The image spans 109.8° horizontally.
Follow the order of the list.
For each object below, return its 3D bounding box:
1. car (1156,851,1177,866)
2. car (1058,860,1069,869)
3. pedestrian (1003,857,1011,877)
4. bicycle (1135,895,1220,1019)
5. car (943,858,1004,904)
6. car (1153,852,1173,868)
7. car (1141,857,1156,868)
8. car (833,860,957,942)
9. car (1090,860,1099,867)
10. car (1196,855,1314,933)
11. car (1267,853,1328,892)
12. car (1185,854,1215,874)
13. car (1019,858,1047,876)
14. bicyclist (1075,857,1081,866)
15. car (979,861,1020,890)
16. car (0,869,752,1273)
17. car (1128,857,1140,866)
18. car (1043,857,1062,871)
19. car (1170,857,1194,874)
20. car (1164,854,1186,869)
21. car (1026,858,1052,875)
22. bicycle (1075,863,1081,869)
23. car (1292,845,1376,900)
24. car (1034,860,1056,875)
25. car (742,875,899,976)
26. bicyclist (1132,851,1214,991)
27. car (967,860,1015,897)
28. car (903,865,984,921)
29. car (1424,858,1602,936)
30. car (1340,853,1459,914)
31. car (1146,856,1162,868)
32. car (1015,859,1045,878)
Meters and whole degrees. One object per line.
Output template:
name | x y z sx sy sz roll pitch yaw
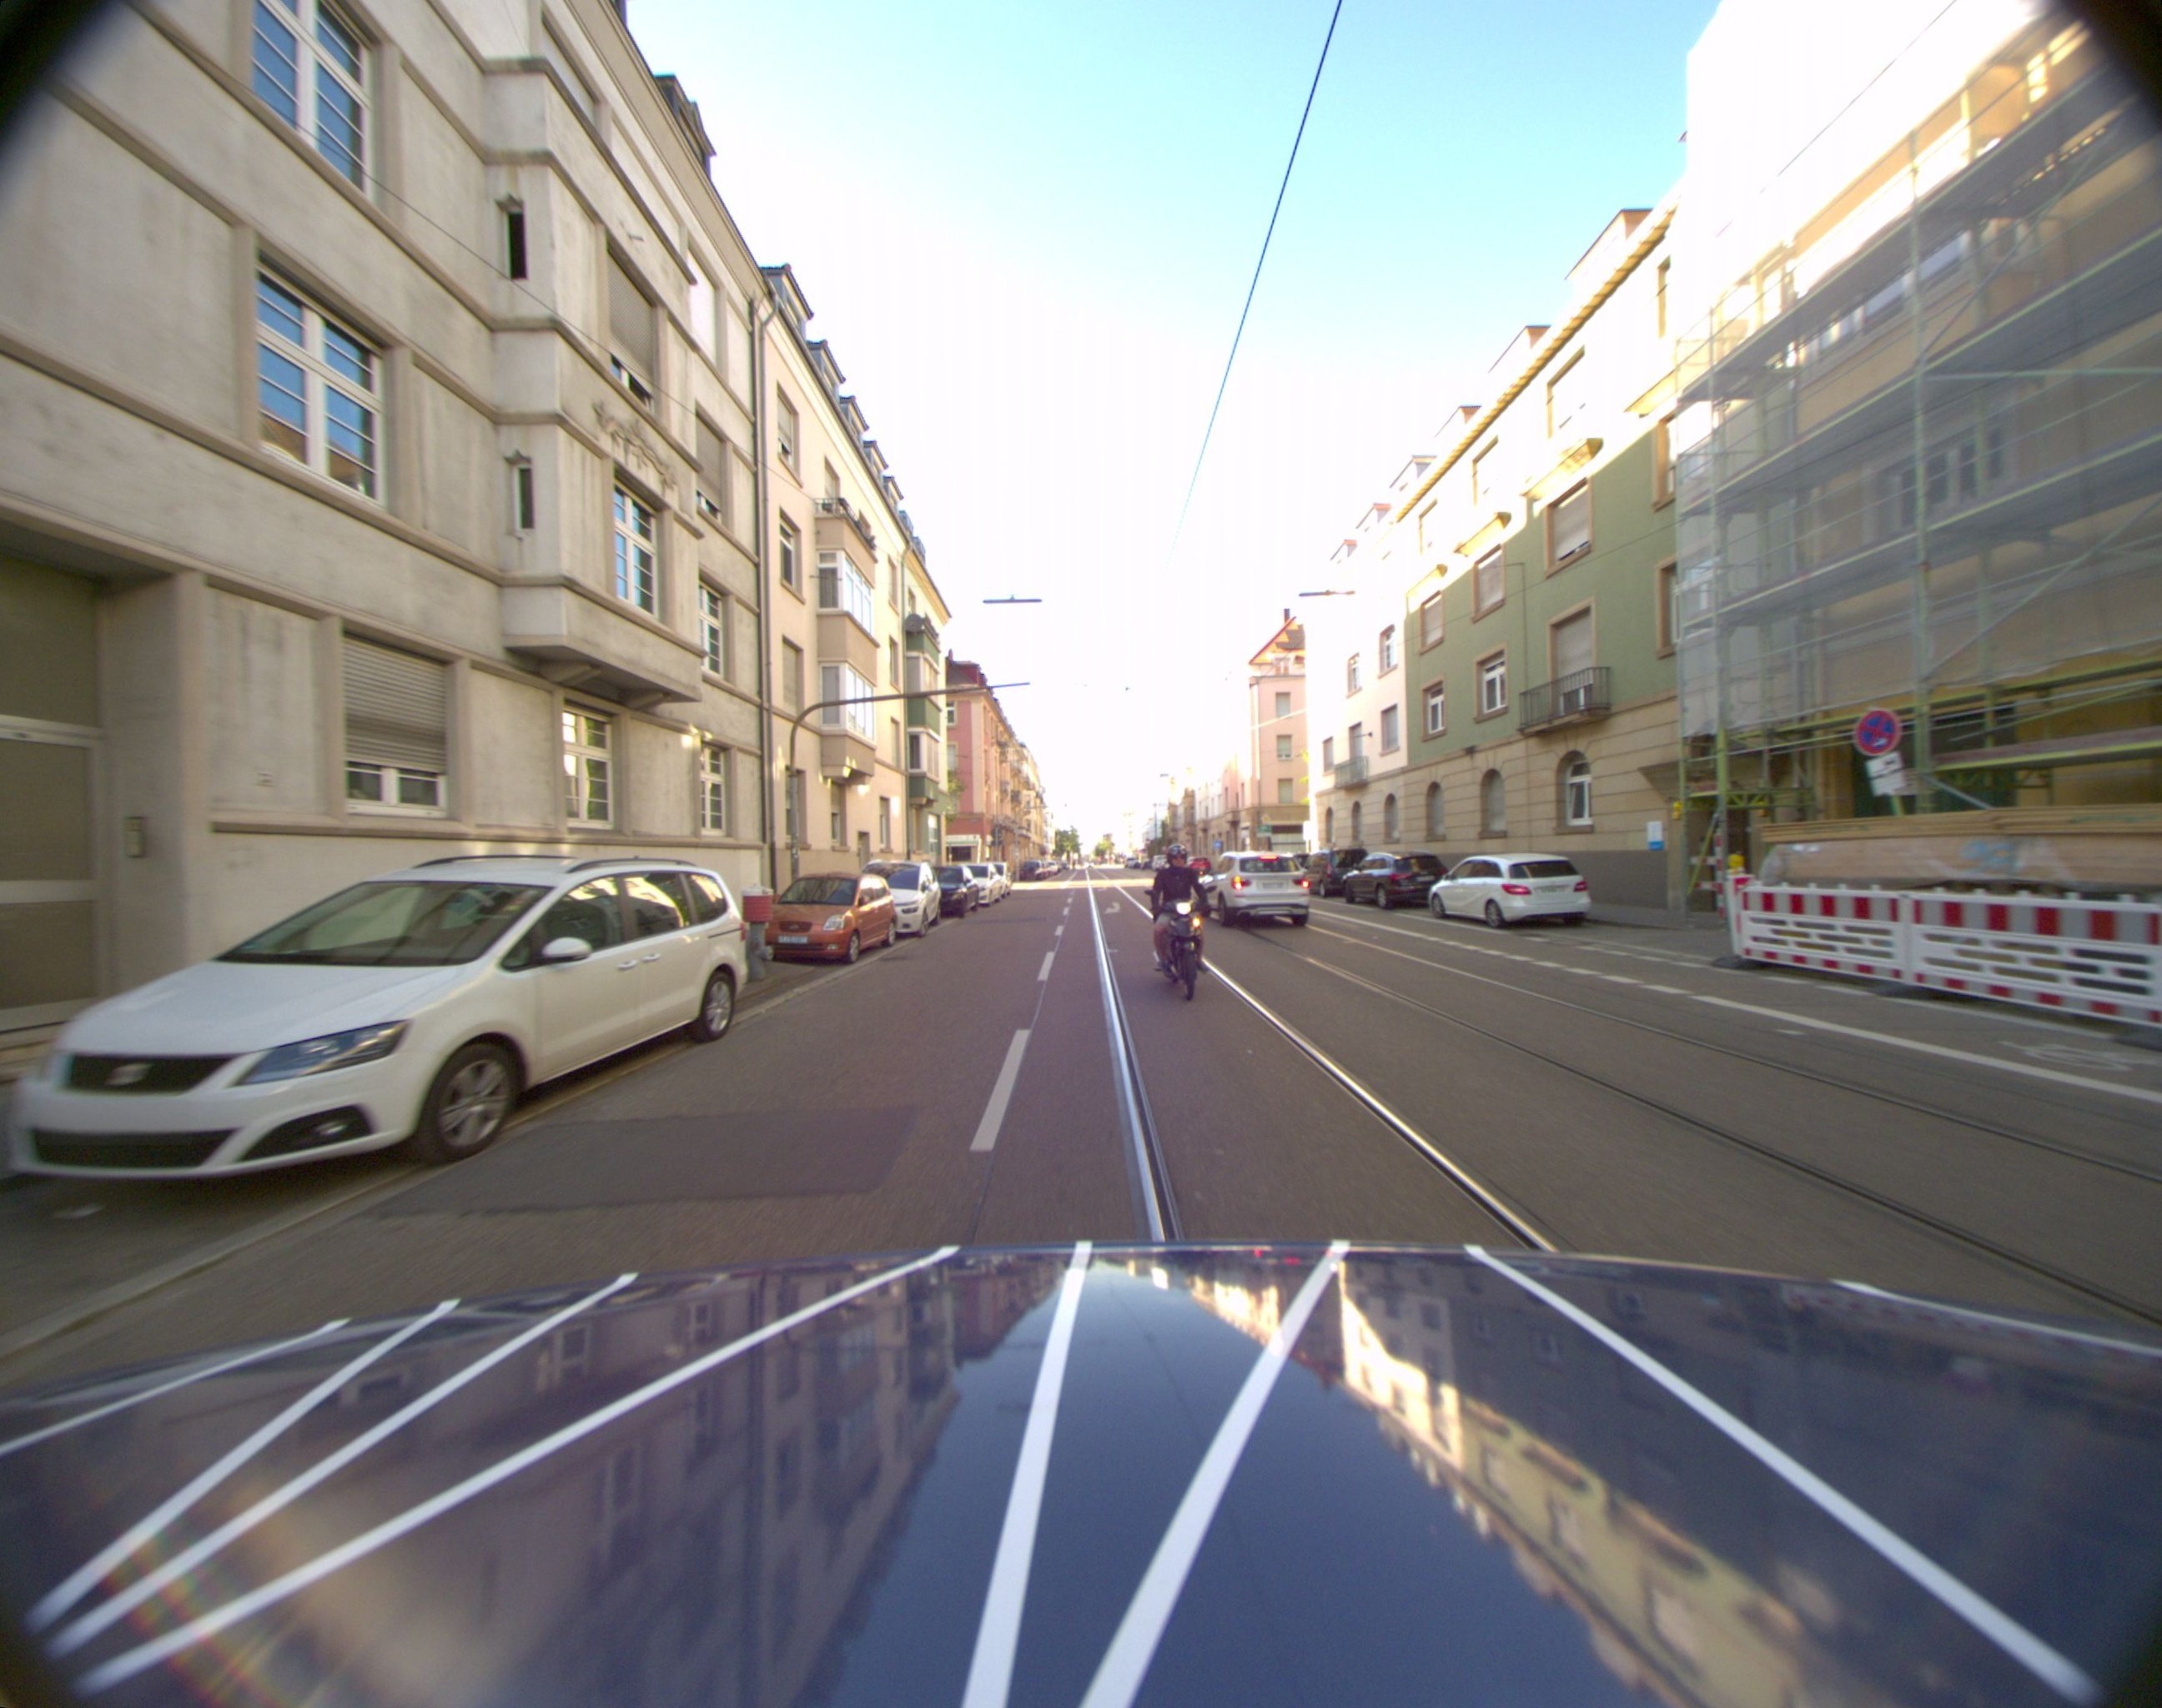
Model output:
car | 9.534 0.500 85.026 1.798 1.494 3.769 -3 0 0
car | -3.389 2.013 146.778 1.998 1.674 4.000 -1 0 1
pedestrian | -5.619 0.960 57.560 0.526 1.483 0.491 -1 0 1
bicycle | 1.071 1.124 8.865 0.740 1.170 1.974 -1 0 1
car | -3.984 0.959 28.727 1.703 1.581 3.961 -1 0 1
car | 10.199 0.760 94.902 1.998 2.002 4.000 -1 0 0
car | 10.064 1.191 113.421 1.798 1.494 3.769 -3 0 -1
car | -4.214 0.998 17.942 1.702 1.688 4.189 0 0 3
car | 3.055 2.227 176.109 1.998 1.586 4.000 -1 0 1
car | 3.927 0.825 17.899 1.772 1.598 4.293 -1 0 0
car | 9.550 0.786 33.811 1.798 1.601 3.770 -1 0 3
car | 10.032 0.838 64.358 1.798 1.494 3.769 -3 0 -1
car | -4.012 1.093 63.657 1.998 1.412 3.727 -1 0 1
bicyclist | -0.466 1.136 116.079 0.744 1.481 0.816 -1 0 1
car | -4.332 1.115 40.910 1.703 1.465 3.780 0 0 1
car | -4.304 0.997 5.616 1.713 1.683 4.590 0 0 0
car | 9.543 1.398 137.551 1.798 1.494 3.769 -3 0 -1
car | -3.326 1.134 89.344 1.998 1.630 4.000 -1 0 1
car | 9.924 1.142 74.656 1.798 1.494 3.769 -3 0 0
car | 9.879 0.774 80.017 1.798 1.494 3.769 -3 0 0
car | -3.775 1.098 68.709 1.998 1.455 4.000 -1 0 1
bicycle | -0.470 1.832 115.970 0.744 0.850 1.886 -1 0 1
car | 9.481 0.659 28.809 1.798 1.835 3.769 -3 0 -1
car | -3.552 1.314 75.606 1.998 1.455 4.000 -1 0 1
car | -4.458 1.162 13.524 1.570 1.475 3.365 0 0 1
bicyclist | 1.055 0.751 8.895 0.843 1.545 0.850 -1 0 0
car | -4.033 1.078 34.382 1.703 1.581 3.354 0 0 1
car | -4.167 1.135 23.610 1.703 1.496 3.863 -1 0 1
car | 9.394 0.864 16.938 1.751 1.502 4.000 -1 0 1
car | 9.412 0.809 22.848 1.702 1.569 4.223 -3 0 -1
car | 10.130 1.136 105.396 1.798 1.494 3.769 -3 0 -1
car | -3.966 1.116 59.355 1.998 1.412 3.727 -1 0 1
